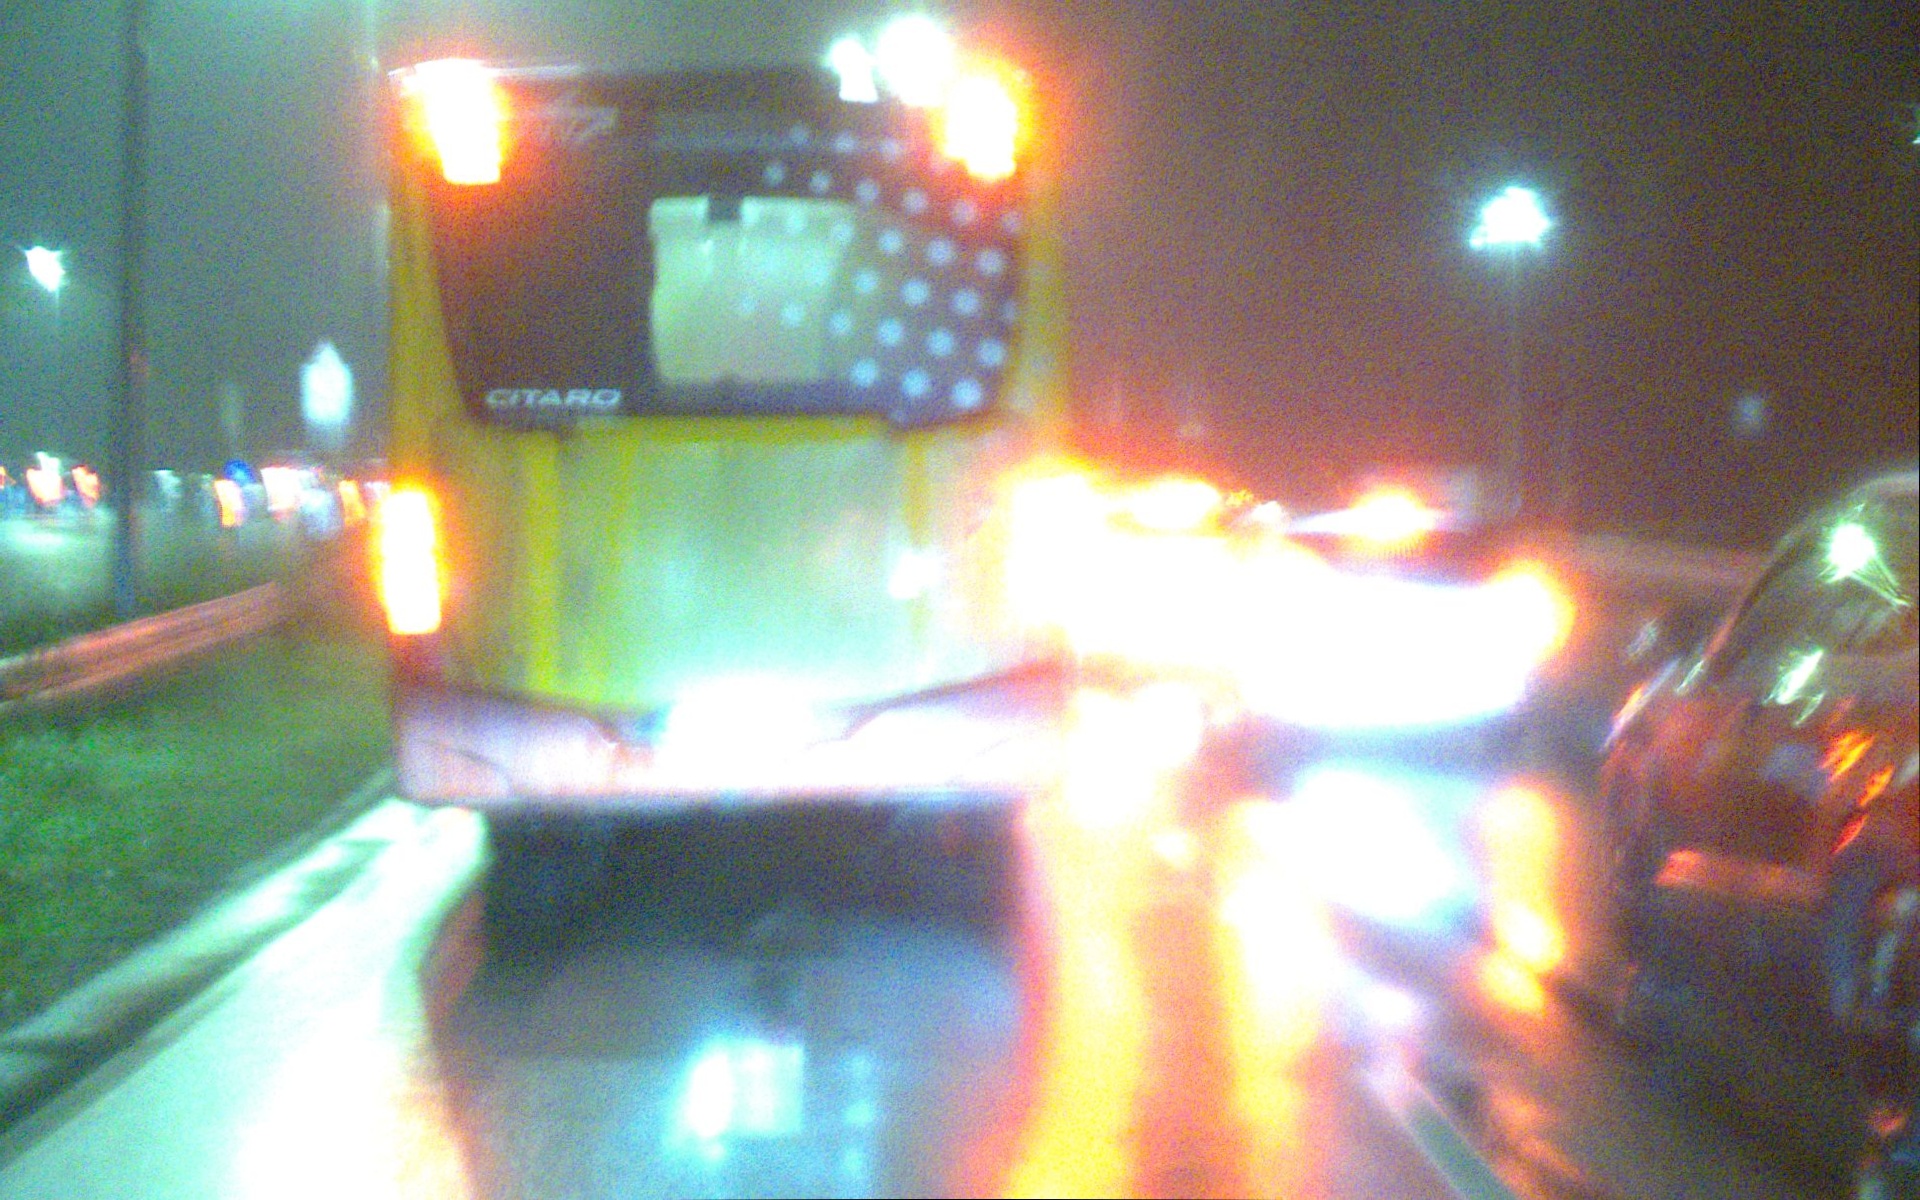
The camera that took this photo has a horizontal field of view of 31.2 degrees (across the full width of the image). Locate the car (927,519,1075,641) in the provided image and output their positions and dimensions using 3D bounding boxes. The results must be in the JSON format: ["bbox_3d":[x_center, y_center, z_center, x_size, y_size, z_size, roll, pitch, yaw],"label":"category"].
[{"bbox_3d":[0.520,-0.307,46.568,1.779,1.538,3.875,1,2,-2],"label":"car"}]

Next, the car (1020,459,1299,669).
[{"bbox_3d":[1.557,-0.337,28.150,1.819,1.585,3.777,-1,2,-4],"label":"car"}]

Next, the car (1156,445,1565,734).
[{"bbox_3d":[2.335,-0.121,20.980,1.819,1.585,3.777,-1,2,-4],"label":"car"}]

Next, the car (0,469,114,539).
[{"bbox_3d":[-26.671,-2.834,101.025,2.211,2.006,4.000,-2,2,-35],"label":"car"}]

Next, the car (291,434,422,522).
[{"bbox_3d":[-14.497,-2.918,82.488,1.993,2.007,4.001,1,1,-27],"label":"car"}]

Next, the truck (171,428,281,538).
[{"bbox_3d":[-17.676,-2.857,82.628,1.855,2.384,4.781,-2,5,-20],"label":"truck"}]

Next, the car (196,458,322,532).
[{"bbox_3d":[-19.531,-2.924,95.682,1.994,2.006,4.000,-2,2,-35],"label":"car"}]

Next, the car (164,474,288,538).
[{"bbox_3d":[-19.304,-2.473,90.338,1.751,1.625,3.622,0,1,-38],"label":"car"}]

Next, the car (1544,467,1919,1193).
[{"bbox_3d":[2.843,0.459,8.985,1.739,1.559,3.777,1,2,-4],"label":"car"}]

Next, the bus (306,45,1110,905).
[{"bbox_3d":[-1.065,-0.565,16.518,2.815,3.013,8.689,1,2,-2],"label":"bus"}]
